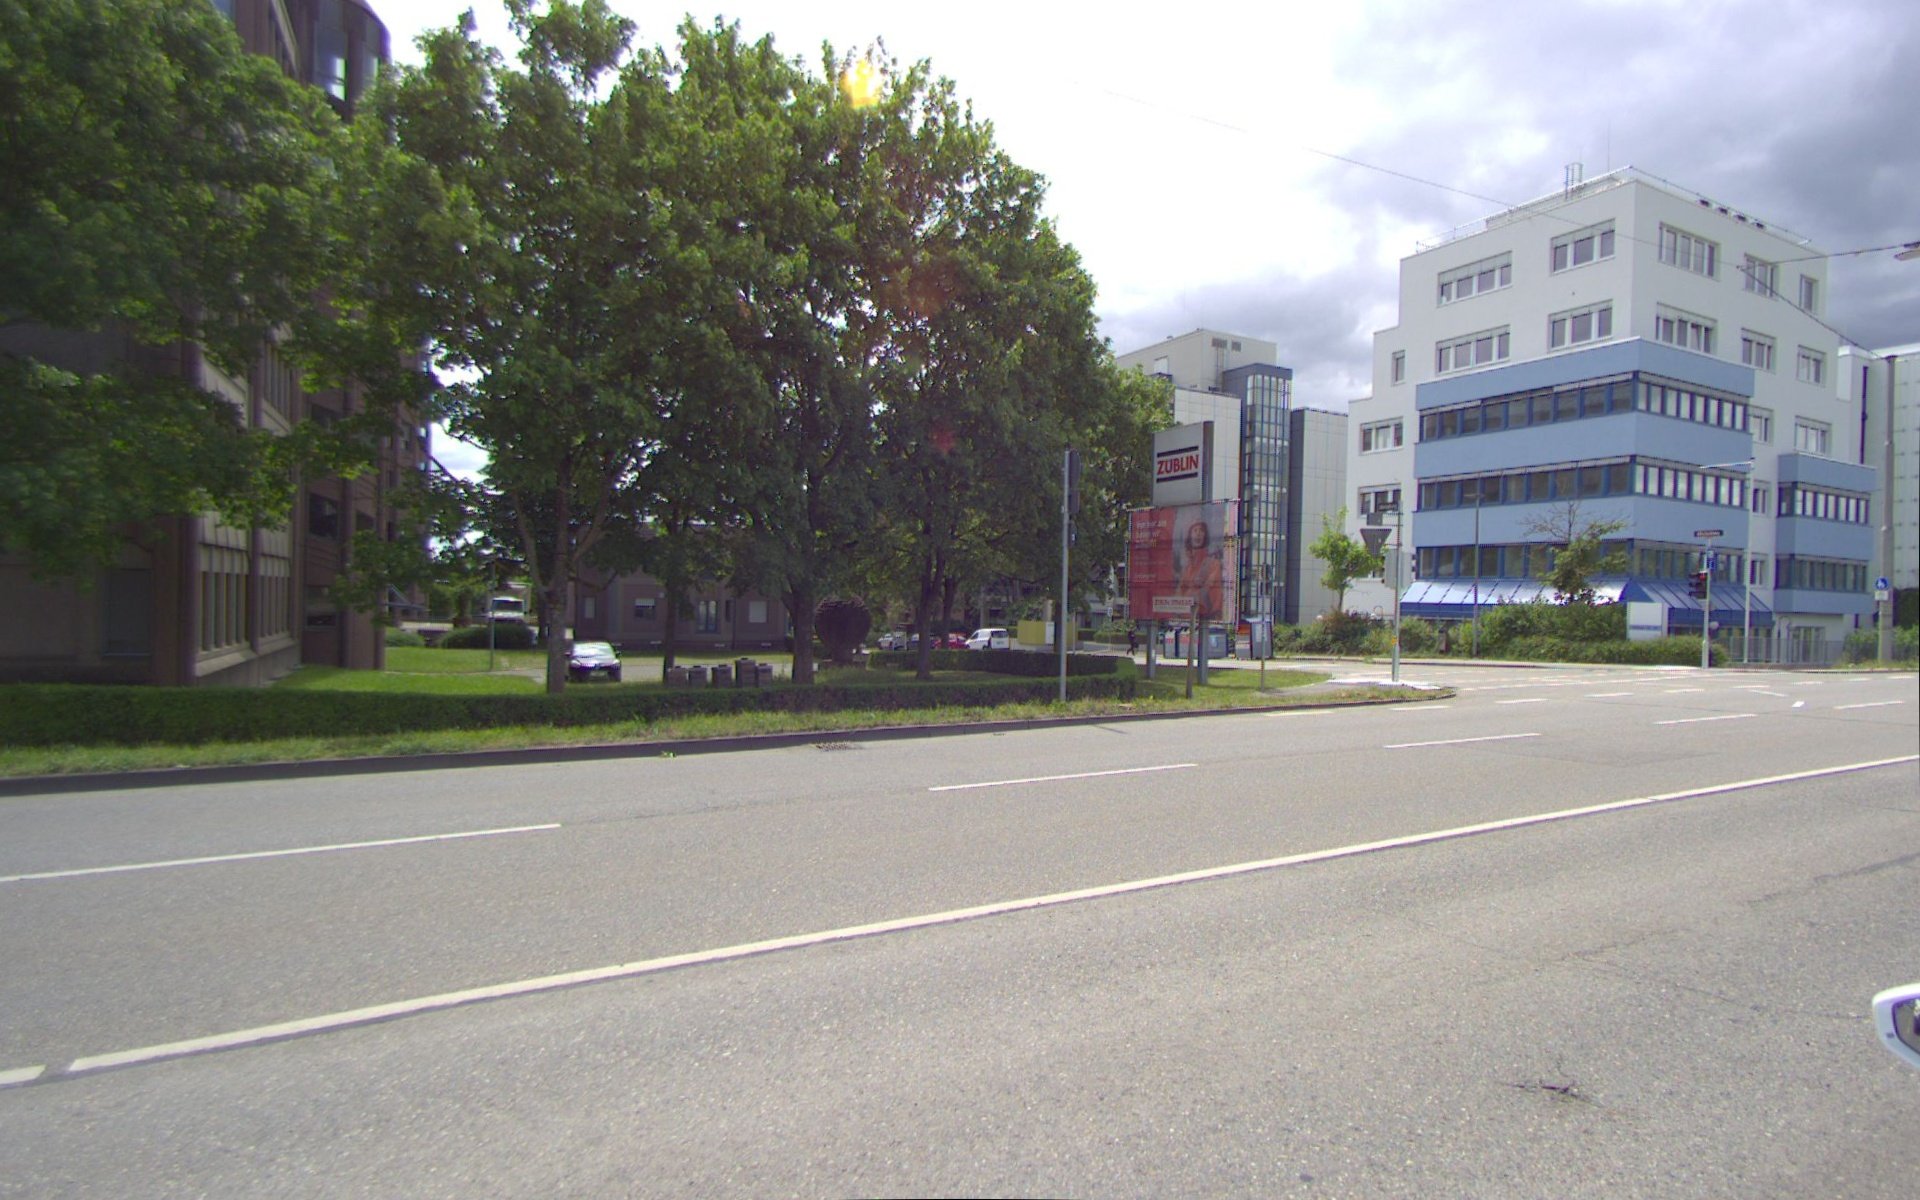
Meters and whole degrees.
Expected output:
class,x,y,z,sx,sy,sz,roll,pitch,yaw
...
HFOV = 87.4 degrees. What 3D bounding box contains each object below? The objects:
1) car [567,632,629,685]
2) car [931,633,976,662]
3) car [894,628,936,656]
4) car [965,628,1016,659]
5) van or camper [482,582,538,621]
class,x,y,z,sx,sy,sz,roll,pitch,yaw
car,-12.866,2.048,35.564,1.762,1.750,3.977,1,-3,-24
car,-0.545,3.604,76.398,1.868,2.040,3.974,2,-1,-26
car,-3.644,3.356,80.947,1.848,2.040,3.973,2,-1,-27
car,2.132,3.089,71.382,1.974,2.006,3.974,2,-1,-26
van or camper,-26.426,0.067,58.866,2.332,2.132,5.161,2,0,-31
